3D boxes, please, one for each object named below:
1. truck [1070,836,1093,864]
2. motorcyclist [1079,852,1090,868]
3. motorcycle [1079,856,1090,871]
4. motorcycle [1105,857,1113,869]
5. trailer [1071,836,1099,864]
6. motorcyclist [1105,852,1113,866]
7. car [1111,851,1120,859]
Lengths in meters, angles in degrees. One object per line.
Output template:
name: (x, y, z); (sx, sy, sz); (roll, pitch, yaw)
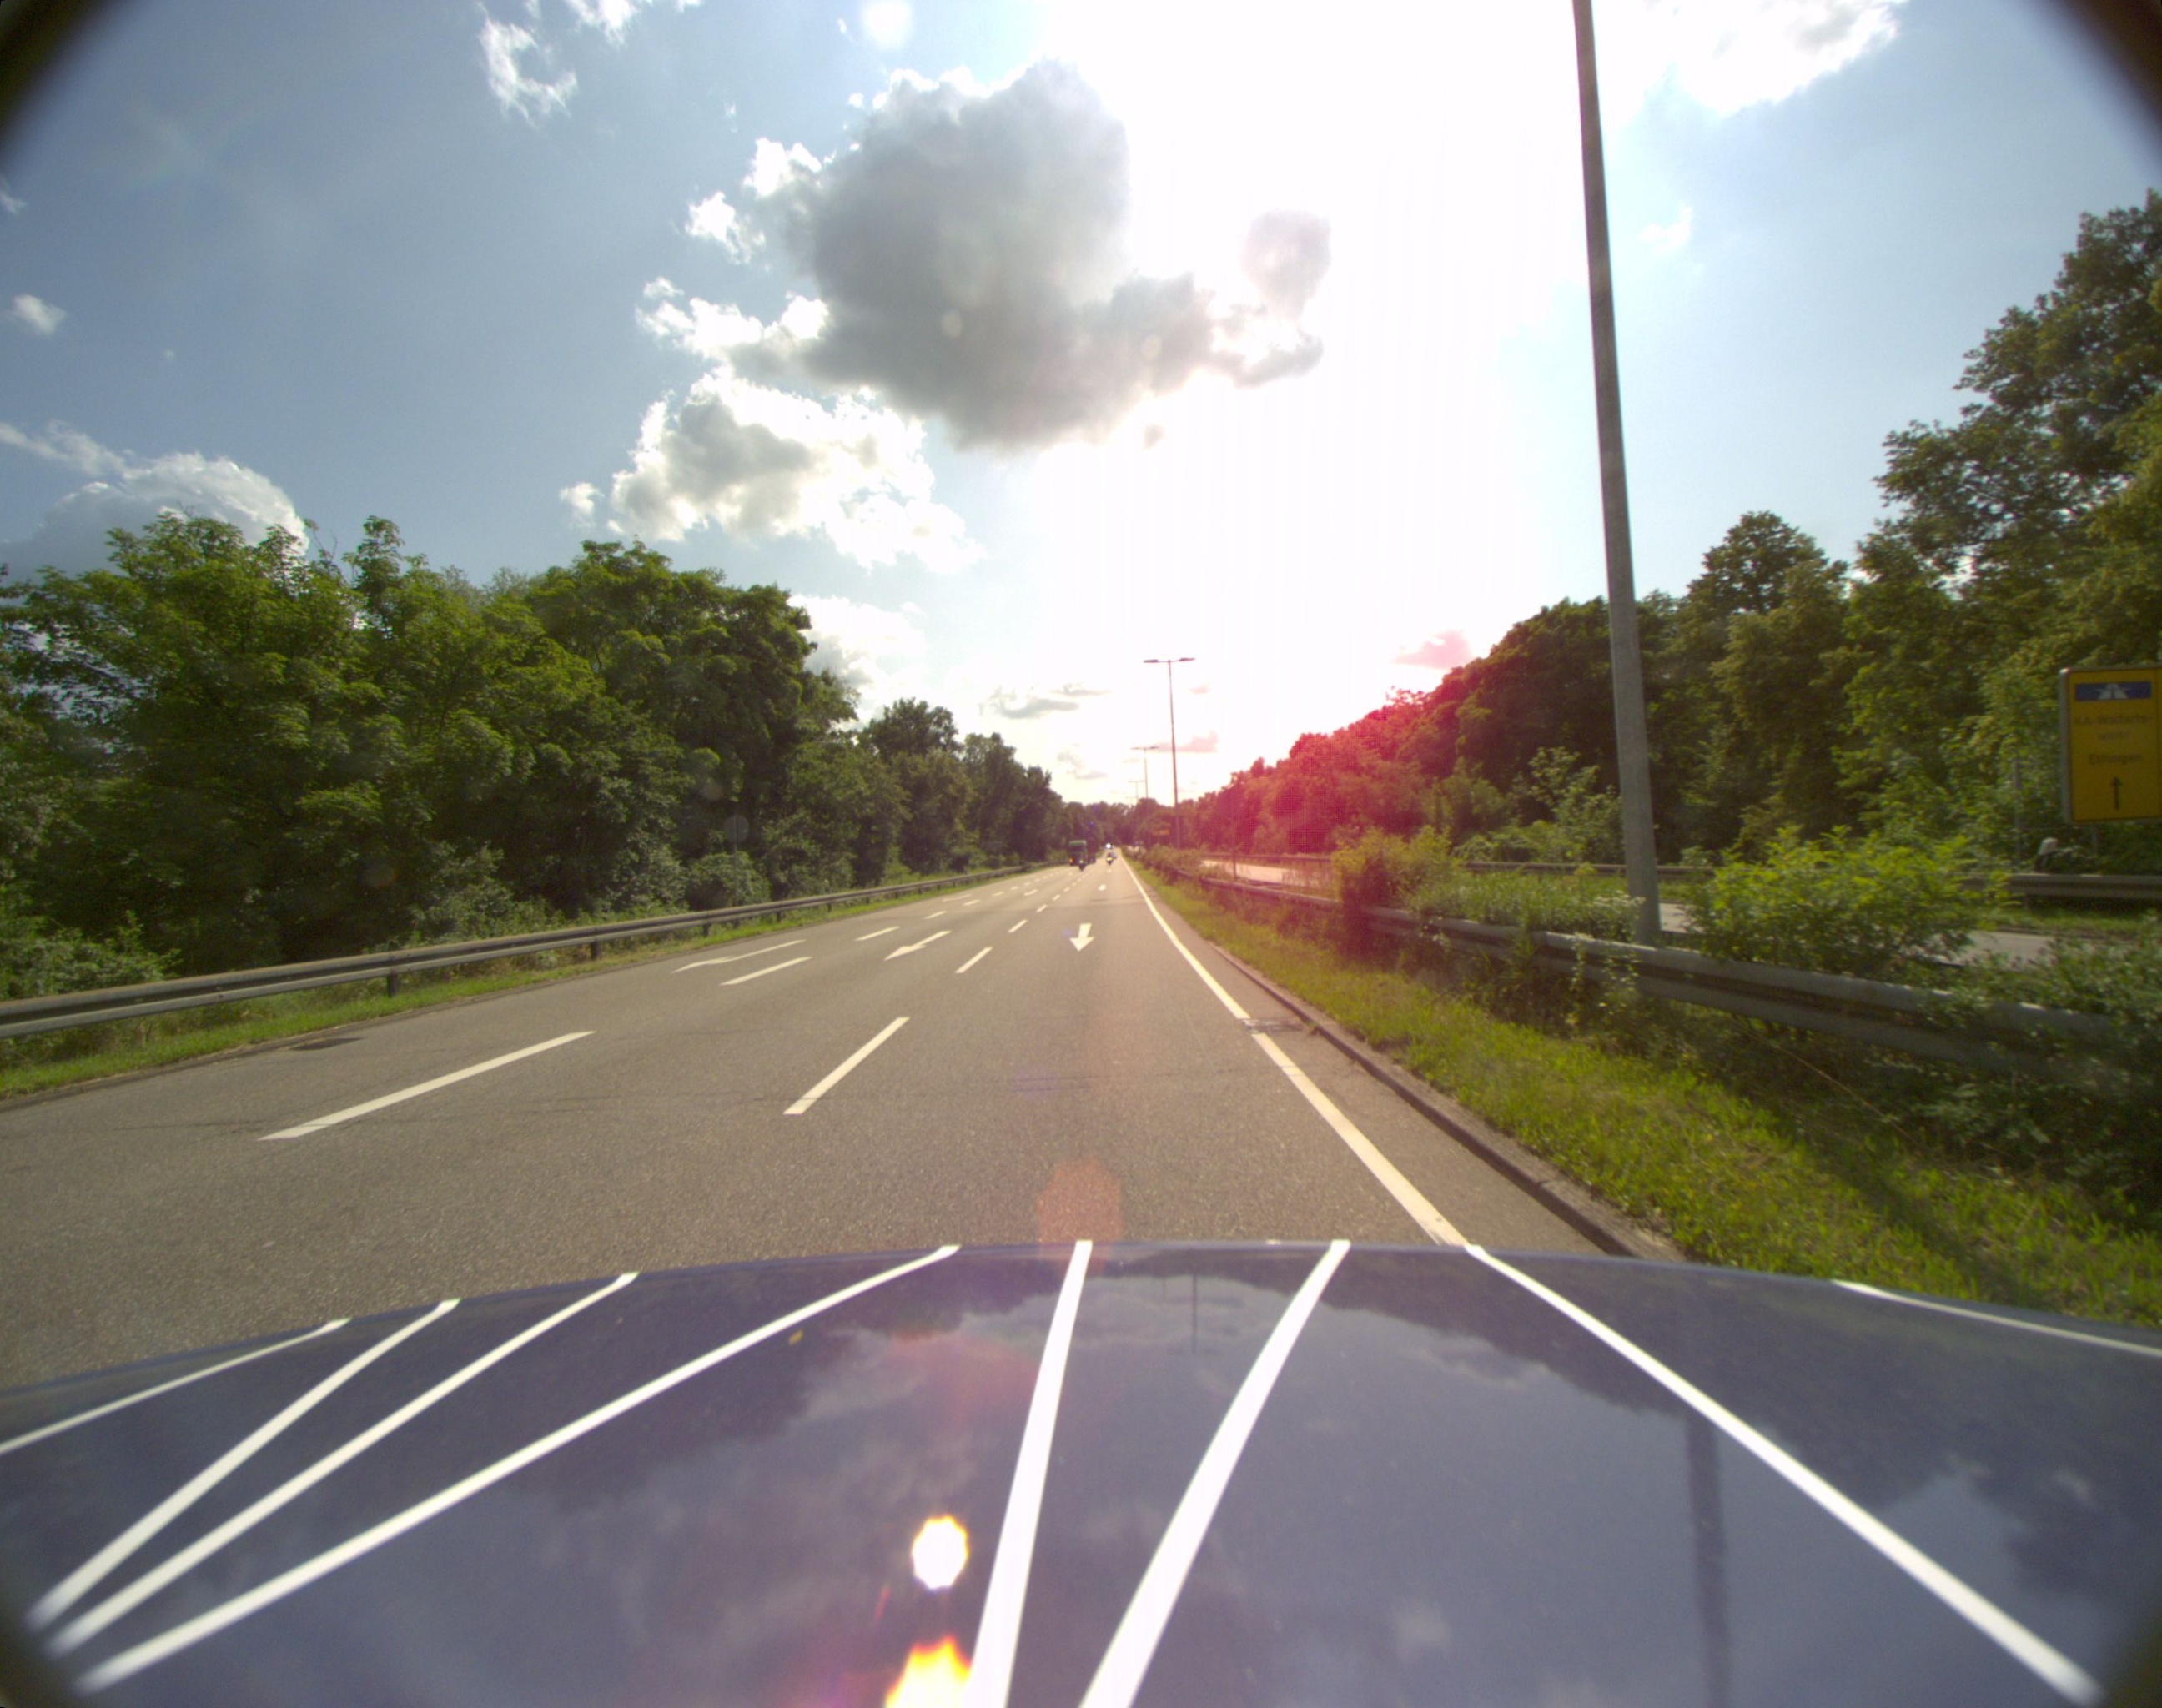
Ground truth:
truck: (0.094, -0.557, 110.103); (2.590, 3.871, 6.064); (-4, 0, 5)
motorcyclist: (0.322, 0.597, 74.344); (0.939, 1.581, 1.083); (-2, 0, 2)
motorcycle: (0.336, 0.913, 74.461); (0.939, 1.375, 2.370); (-2, 0, 3)
motorcycle: (3.440, 1.069, 93.048); (0.867, 1.380, 2.371); (-2, -1, 5)
trailer: (0.777, -0.552, 116.745); (2.590, 3.870, 14.508); (-4, 0, 6)
motorcyclist: (3.423, 0.628, 93.079); (0.867, 1.690, 0.895); (-2, 0, 5)
car: (7.238, 0.230, 158.979); (1.735, 1.467, 4.048); (-2, 0, 3)
